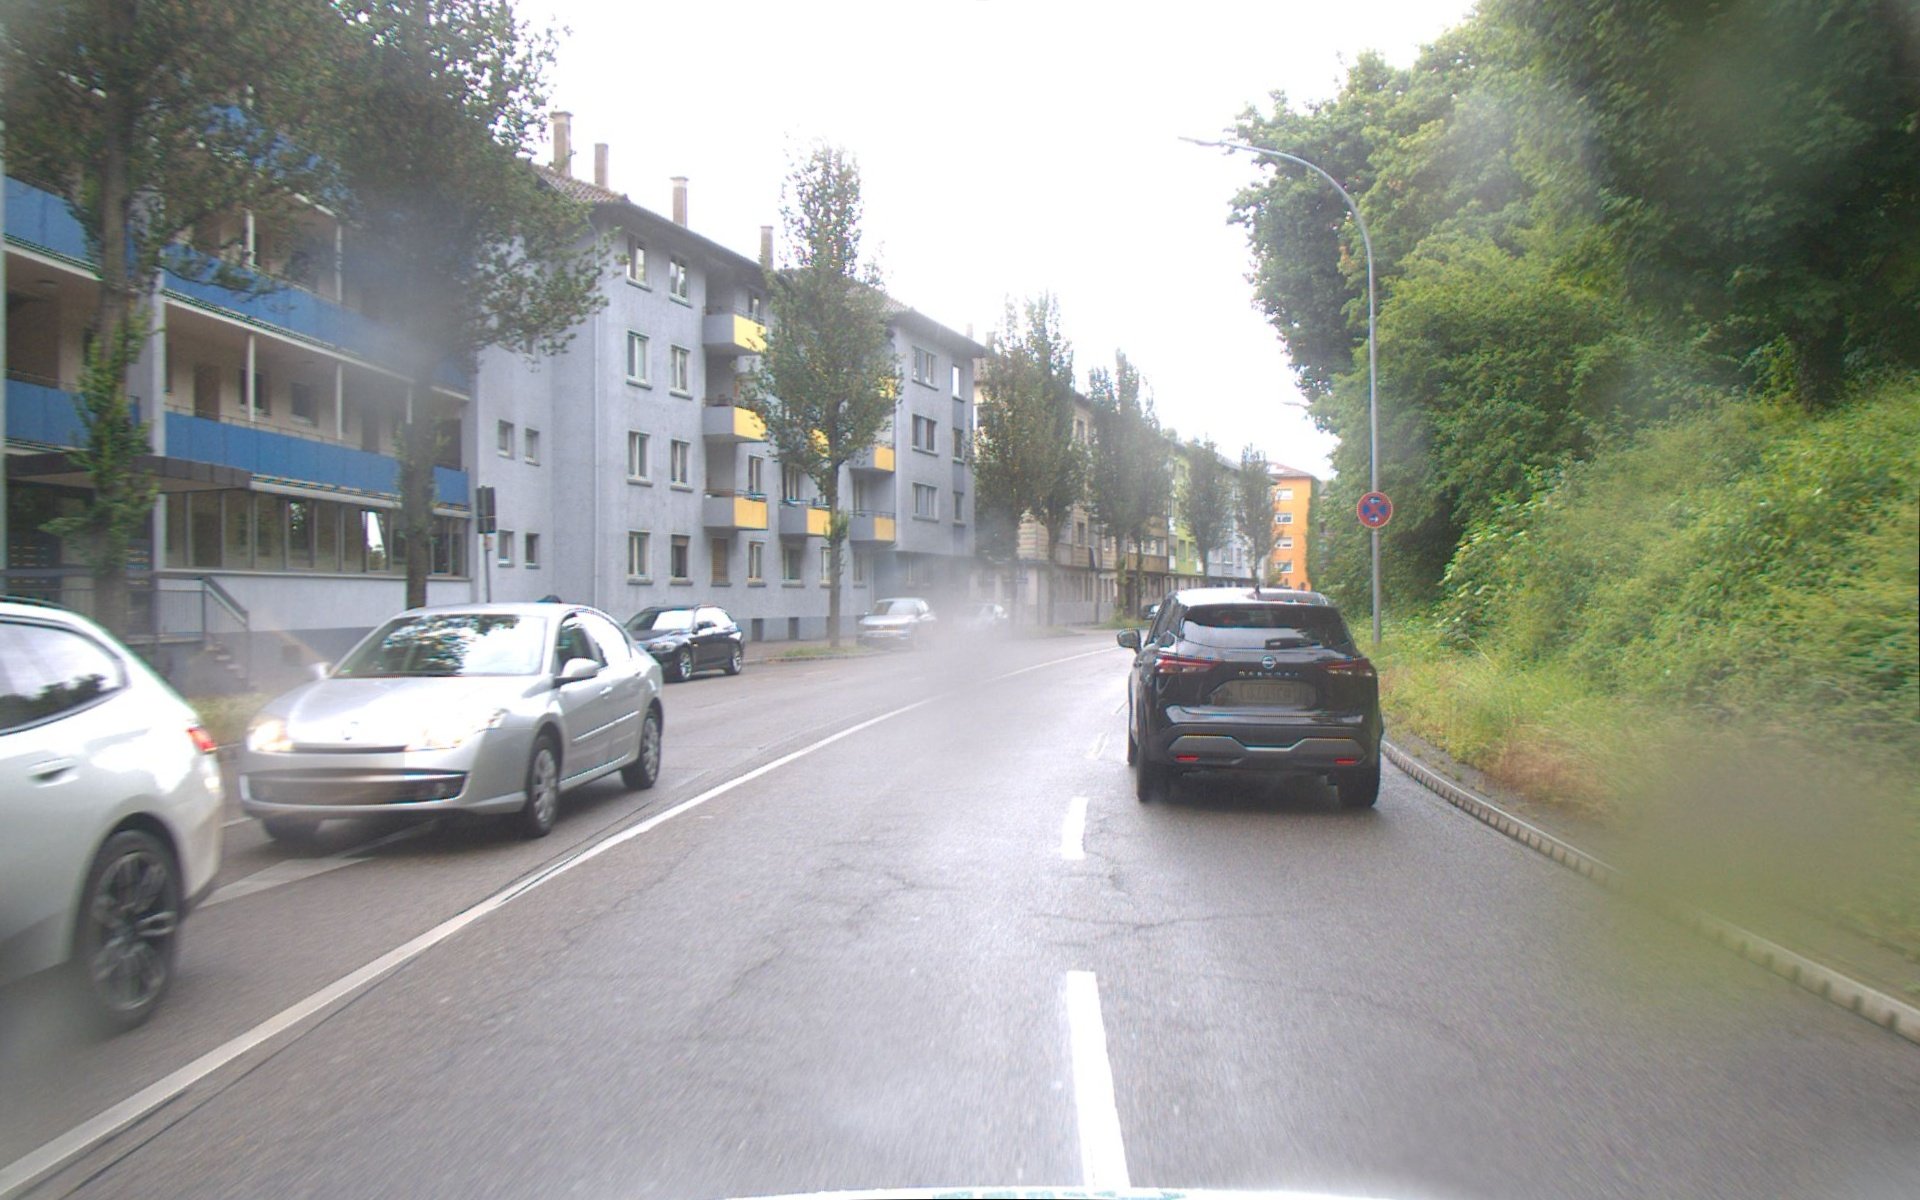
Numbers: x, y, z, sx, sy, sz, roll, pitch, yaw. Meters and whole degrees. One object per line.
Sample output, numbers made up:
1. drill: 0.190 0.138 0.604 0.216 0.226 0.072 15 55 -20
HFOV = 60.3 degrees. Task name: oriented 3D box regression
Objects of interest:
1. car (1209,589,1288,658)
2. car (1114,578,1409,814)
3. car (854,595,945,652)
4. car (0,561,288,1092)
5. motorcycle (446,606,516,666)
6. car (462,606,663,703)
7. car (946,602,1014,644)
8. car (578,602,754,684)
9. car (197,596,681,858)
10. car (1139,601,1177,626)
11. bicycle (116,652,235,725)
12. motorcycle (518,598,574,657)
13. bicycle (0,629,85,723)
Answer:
1. car: 7.548 0.588 43.550 1.847 1.741 4.003 0 0 7
2. car: 2.278 0.650 13.475 1.806 1.610 4.001 1 0 2
3. car: -1.826 0.697 51.362 1.726 1.632 4.537 -1 0 12
4. car: -3.708 0.683 4.241 1.782 1.543 5.029 -2 0 1
5. motorcycle: -10.834 0.791 37.482 0.661 1.276 2.238 2 0 7
6. car: -6.598 0.862 27.904 1.741 1.427 4.092 -2 0 10
7. car: 0.780 0.839 62.066 1.687 1.478 4.209 -1 0 13
8. car: -5.783 0.820 33.222 1.782 1.465 4.897 -2 -1 11
9. car: -3.297 0.708 11.498 1.716 1.450 4.539 -1 0 3
10. car: 12.048 0.811 100.471 1.591 1.411 3.990 -1 0 17
11. bicycle: -10.504 1.170 22.207 0.653 0.840 1.741 3 0 3
12. motorcycle: -10.521 0.672 42.079 0.661 1.438 2.237 2 0 4
13. bicycle: -11.191 0.886 19.830 0.600 1.041 1.732 -1 0 -5
